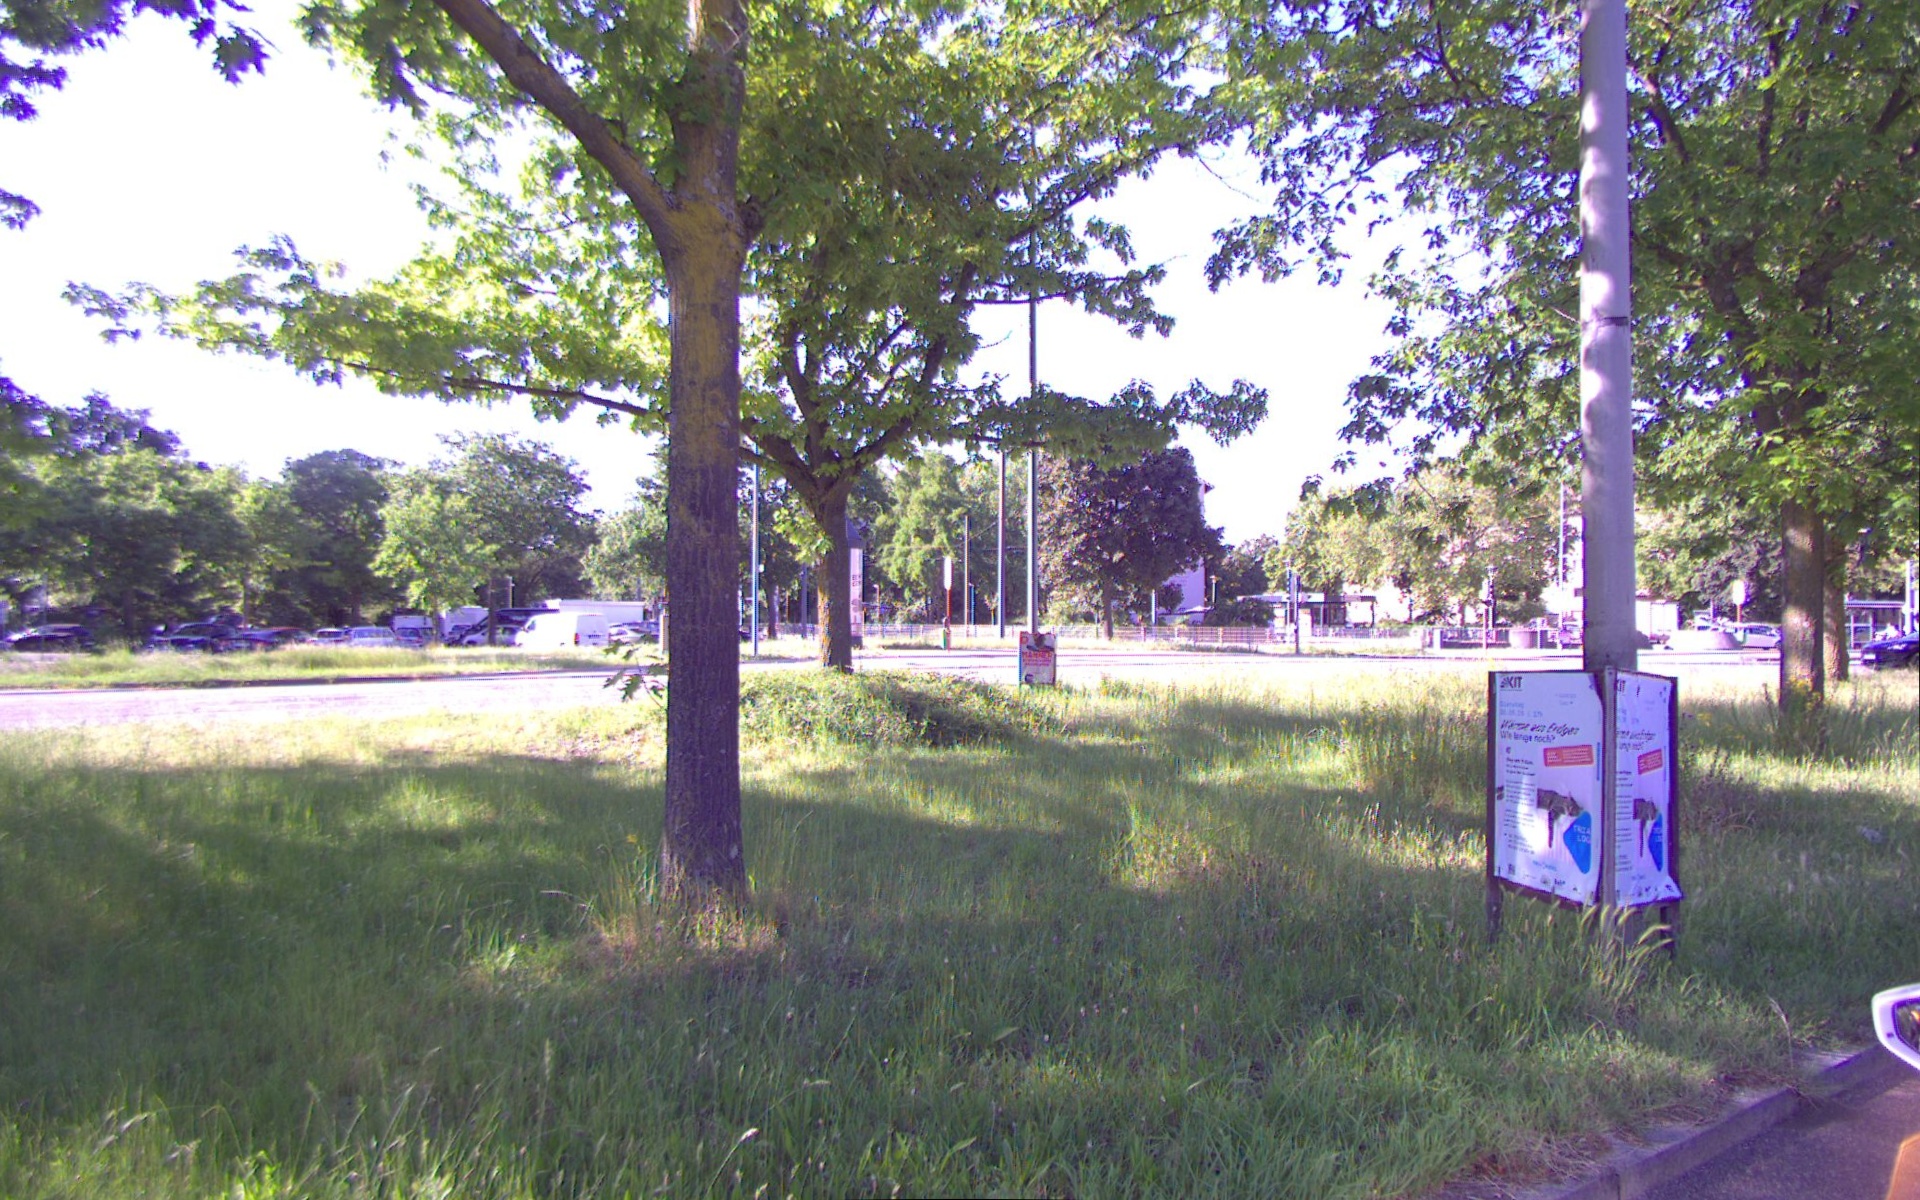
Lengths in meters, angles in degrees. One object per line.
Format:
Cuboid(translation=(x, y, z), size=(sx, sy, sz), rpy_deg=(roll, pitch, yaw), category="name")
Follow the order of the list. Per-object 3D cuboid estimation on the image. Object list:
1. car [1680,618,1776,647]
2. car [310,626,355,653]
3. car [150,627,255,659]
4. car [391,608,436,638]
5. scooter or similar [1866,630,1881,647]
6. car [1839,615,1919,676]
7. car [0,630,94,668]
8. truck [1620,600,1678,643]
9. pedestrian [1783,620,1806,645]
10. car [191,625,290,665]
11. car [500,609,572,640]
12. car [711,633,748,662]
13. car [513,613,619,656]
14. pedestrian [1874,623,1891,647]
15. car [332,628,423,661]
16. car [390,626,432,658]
Cuboid(translation=(46.913, 1.955, 61.465), size=(4.233, 1.706, 2.001), rpy_deg=(0, -1, 9), category="car")
Cuboid(translation=(-29.289, 1.816, 46.872), size=(1.603, 1.194, 3.047), rpy_deg=(1, -1, -35), category="car")
Cuboid(translation=(-26.838, 1.497, 35.635), size=(1.315, 1.078, 2.777), rpy_deg=(0, -1, 42), category="car")
Cuboid(translation=(-32.482, 1.355, 59.793), size=(1.865, 1.691, 3.733), rpy_deg=(1, -1, -22), category="car")
Cuboid(translation=(53.907, 2.272, 59.292), size=(0.524, 0.939, 0.421), rpy_deg=(0, -1, -4), category="scooter or similar")
Cuboid(translation=(29.975, 1.344, 30.623), size=(4.373, 1.670, 1.832), rpy_deg=(-2, 3, 19), category="car")
Cuboid(translation=(-47.654, 2.487, 51.912), size=(1.966, 1.817, 3.990), rpy_deg=(0, -1, 32), category="car")
Cuboid(translation=(46.648, 1.468, 68.090), size=(1.960, 2.842, 4.002), rpy_deg=(0, -1, 15), category="truck")
Cuboid(translation=(53.626, 2.074, 64.534), size=(0.781, 1.629, 0.923), rpy_deg=(0, -1, 9), category="pedestrian")
Cuboid(translation=(-25.229, 1.556, 35.250), size=(2.769, 1.323, 1.326), rpy_deg=(1, -1, -40), category="car")
Cuboid(translation=(-24.124, 1.403, 57.295), size=(3.698, 1.691, 1.883), rpy_deg=(1, -1, -23), category="car")
Cuboid(translation=(-12.025, 2.445, 52.493), size=(1.589, 1.438, 3.073), rpy_deg=(0, -1, -8), category="car")
Cuboid(translation=(-17.213, 1.467, 43.806), size=(4.670, 1.762, 2.024), rpy_deg=(0, -1, 34), category="car")
Cuboid(translation=(54.477, 2.056, 59.335), size=(0.614, 1.409, 0.416), rpy_deg=(0, -1, -3), category="pedestrian")
Cuboid(translation=(-21.822, 1.627, 37.640), size=(2.769, 1.171, 1.326), rpy_deg=(1, -1, -40), category="car")
Cuboid(translation=(-26.696, 2.020, 48.785), size=(1.602, 1.438, 3.050), rpy_deg=(1, -1, -33), category="car")
